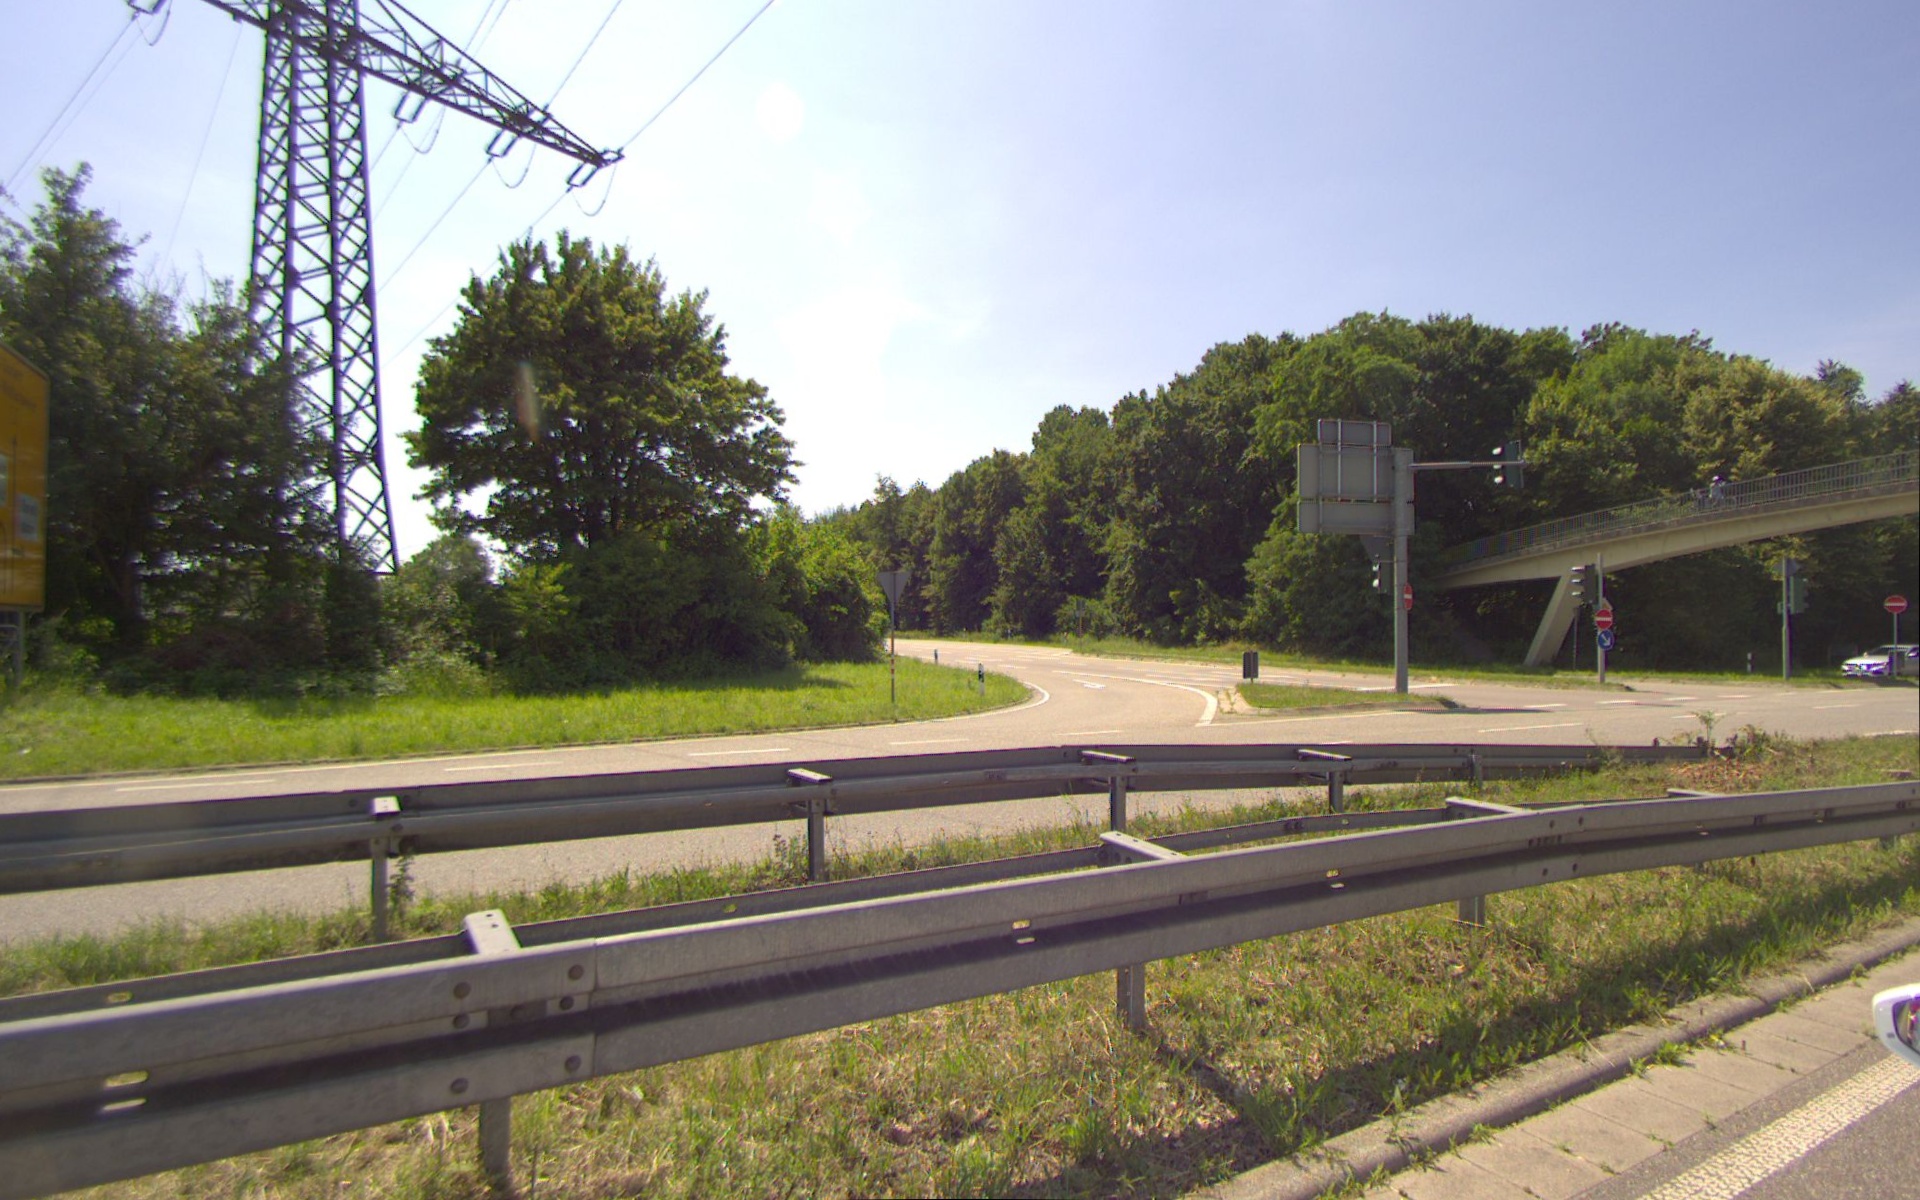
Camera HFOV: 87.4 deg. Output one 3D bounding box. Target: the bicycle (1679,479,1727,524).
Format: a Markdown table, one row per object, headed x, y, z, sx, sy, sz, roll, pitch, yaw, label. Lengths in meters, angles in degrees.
| x | y | z | sx | sy | sz | roll | pitch | yaw | label |
| --- | --- | --- | --- | --- | --- | --- | --- | --- | --- |
| 28.854 | -3.818 | 39.028 | 0.462 | 1.493 | 1.528 | 2 | -3 | -14 | bicycle |

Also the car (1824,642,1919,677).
| x | y | z | sx | sy | sz | roll | pitch | yaw | label |
| --- | --- | --- | --- | --- | --- | --- | --- | --- | --- |
| 39.446 | 2.504 | 42.560 | 4.702 | 1.391 | 1.994 | 1 | -2 | -15 | car |

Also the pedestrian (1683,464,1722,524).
| x | y | z | sx | sy | sz | roll | pitch | yaw | label |
| --- | --- | --- | --- | --- | --- | --- | --- | --- | --- |
| 29.061 | -4.131 | 39.316 | 0.916 | 2.167 | 0.783 | 2 | -3 | -14 | pedestrian |
